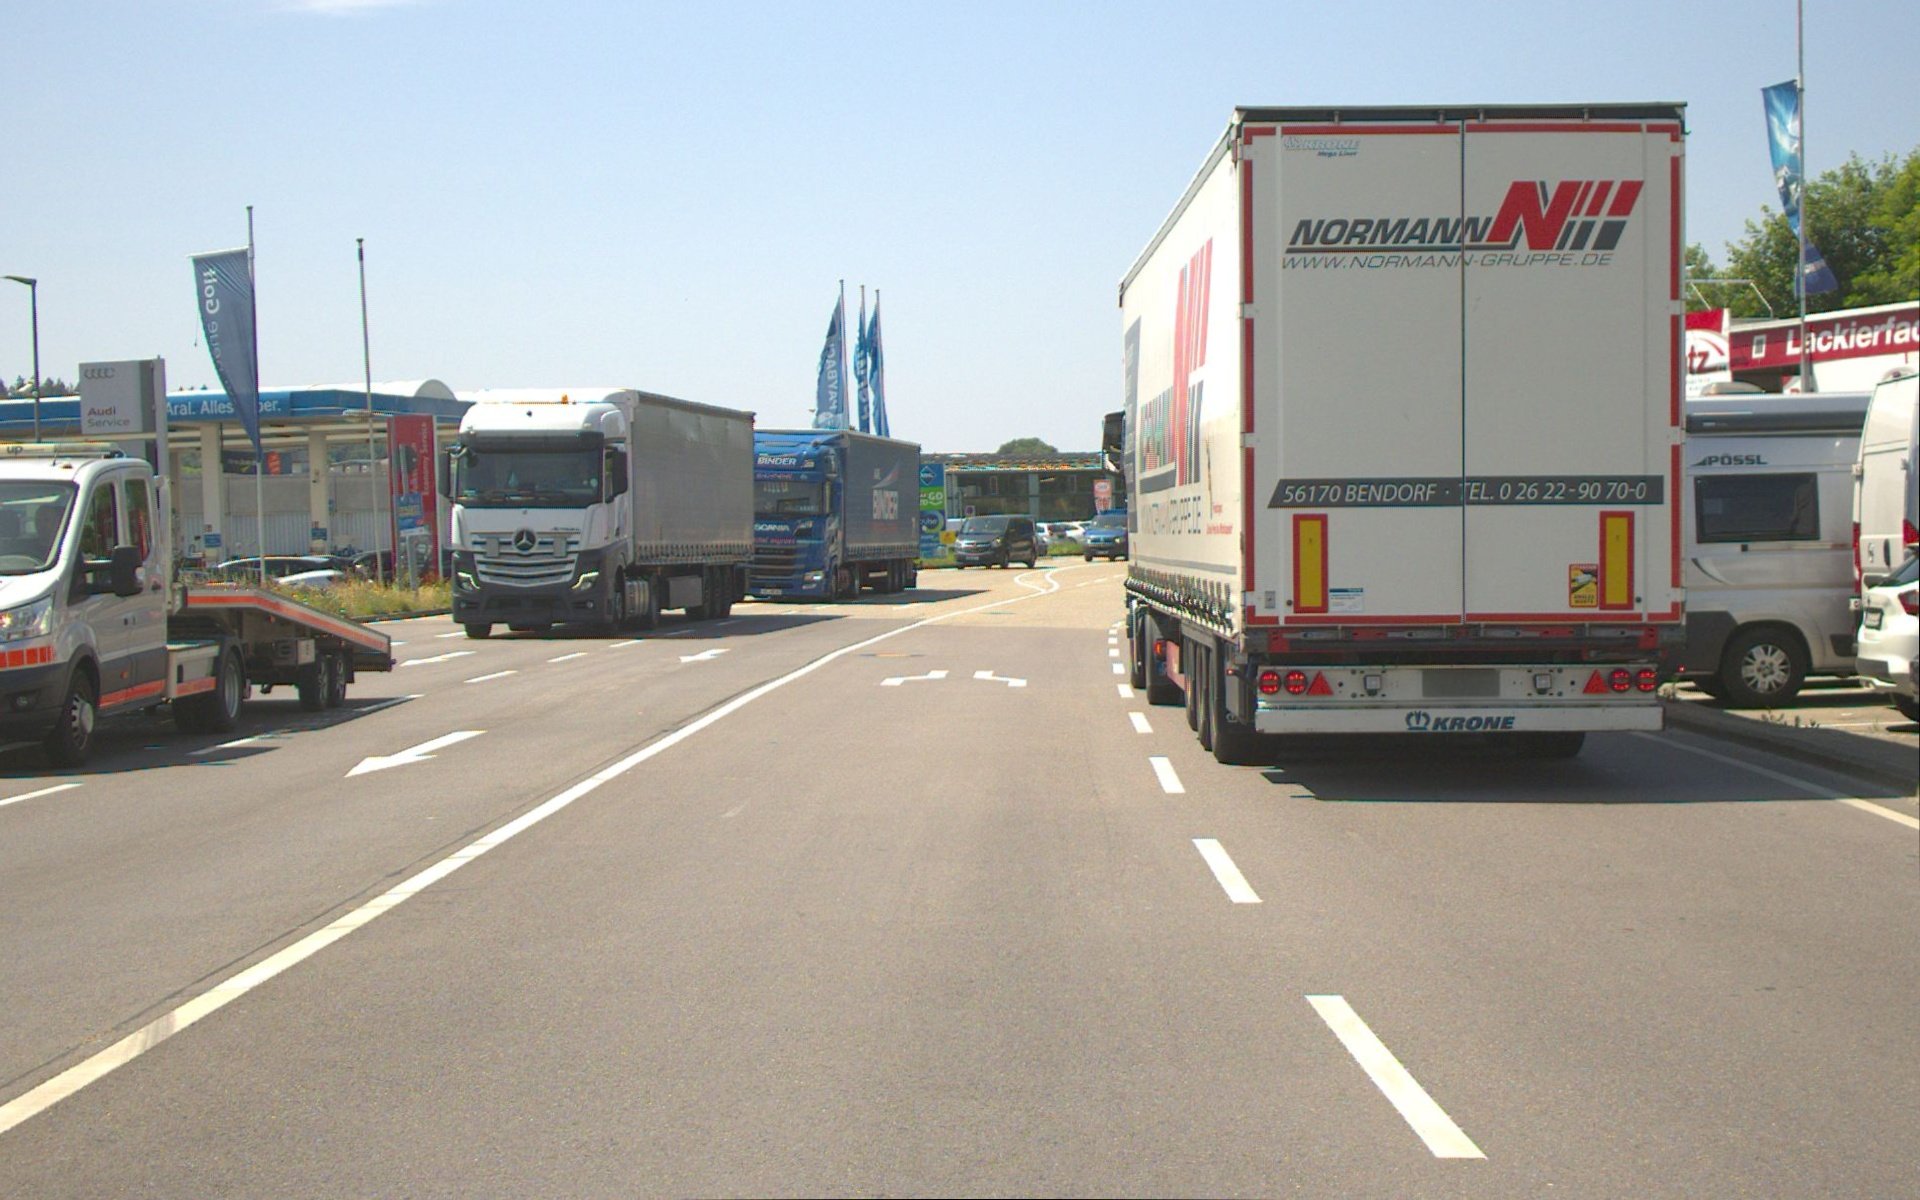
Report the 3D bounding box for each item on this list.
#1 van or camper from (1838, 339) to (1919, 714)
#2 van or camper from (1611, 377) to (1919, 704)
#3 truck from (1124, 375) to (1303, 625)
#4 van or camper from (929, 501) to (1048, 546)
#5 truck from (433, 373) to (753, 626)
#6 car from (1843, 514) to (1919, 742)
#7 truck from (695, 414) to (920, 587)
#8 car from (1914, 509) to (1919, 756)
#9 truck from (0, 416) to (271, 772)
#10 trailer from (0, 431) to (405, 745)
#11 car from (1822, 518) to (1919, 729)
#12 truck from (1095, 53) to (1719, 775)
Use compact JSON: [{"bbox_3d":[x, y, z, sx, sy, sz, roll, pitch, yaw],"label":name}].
[{"bbox_3d":[10.010,-0.635,27.575,5.369,2.895,2.232,-1,1,3],"label":"van or camper"},{"bbox_3d":[8.626,-0.553,30.052,5.476,2.720,2.232,-1,1,3],"label":"van or camper"},{"bbox_3d":[4.350,-1.695,60.340,2.648,3.793,13.358,-2,1,3],"label":"truck"},{"bbox_3d":[1.219,-3.252,146.496,4.849,1.898,1.903,0,1,10],"label":"van or camper"},{"bbox_3d":[-6.123,-1.637,60.965,2.790,3.876,16.481,0,1,4],"label":"truck"},{"bbox_3d":[8.415,0.151,23.248,4.325,1.494,2.082,0,1,-1],"label":"car"},{"bbox_3d":[-3.526,-2.329,85.609,2.845,3.876,17.001,0,1,7],"label":"truck"},{"bbox_3d":[7.989,0.196,19.898,4.325,1.494,2.082,0,1,-1],"label":"car"},{"bbox_3d":[-7.121,-0.049,25.543,2.425,2.332,5.674,-3,1,4],"label":"truck"},{"bbox_3d":[-6.846,-0.130,29.854,2.428,2.330,6.896,-3,1,4],"label":"trailer"},{"bbox_3d":[8.492,0.133,25.305,3.808,1.494,1.854,0,1,-1],"label":"car"},{"bbox_3d":[2.875,-1.201,28.280,2.973,4.079,17.635,0,1,0],"label":"truck"}]
